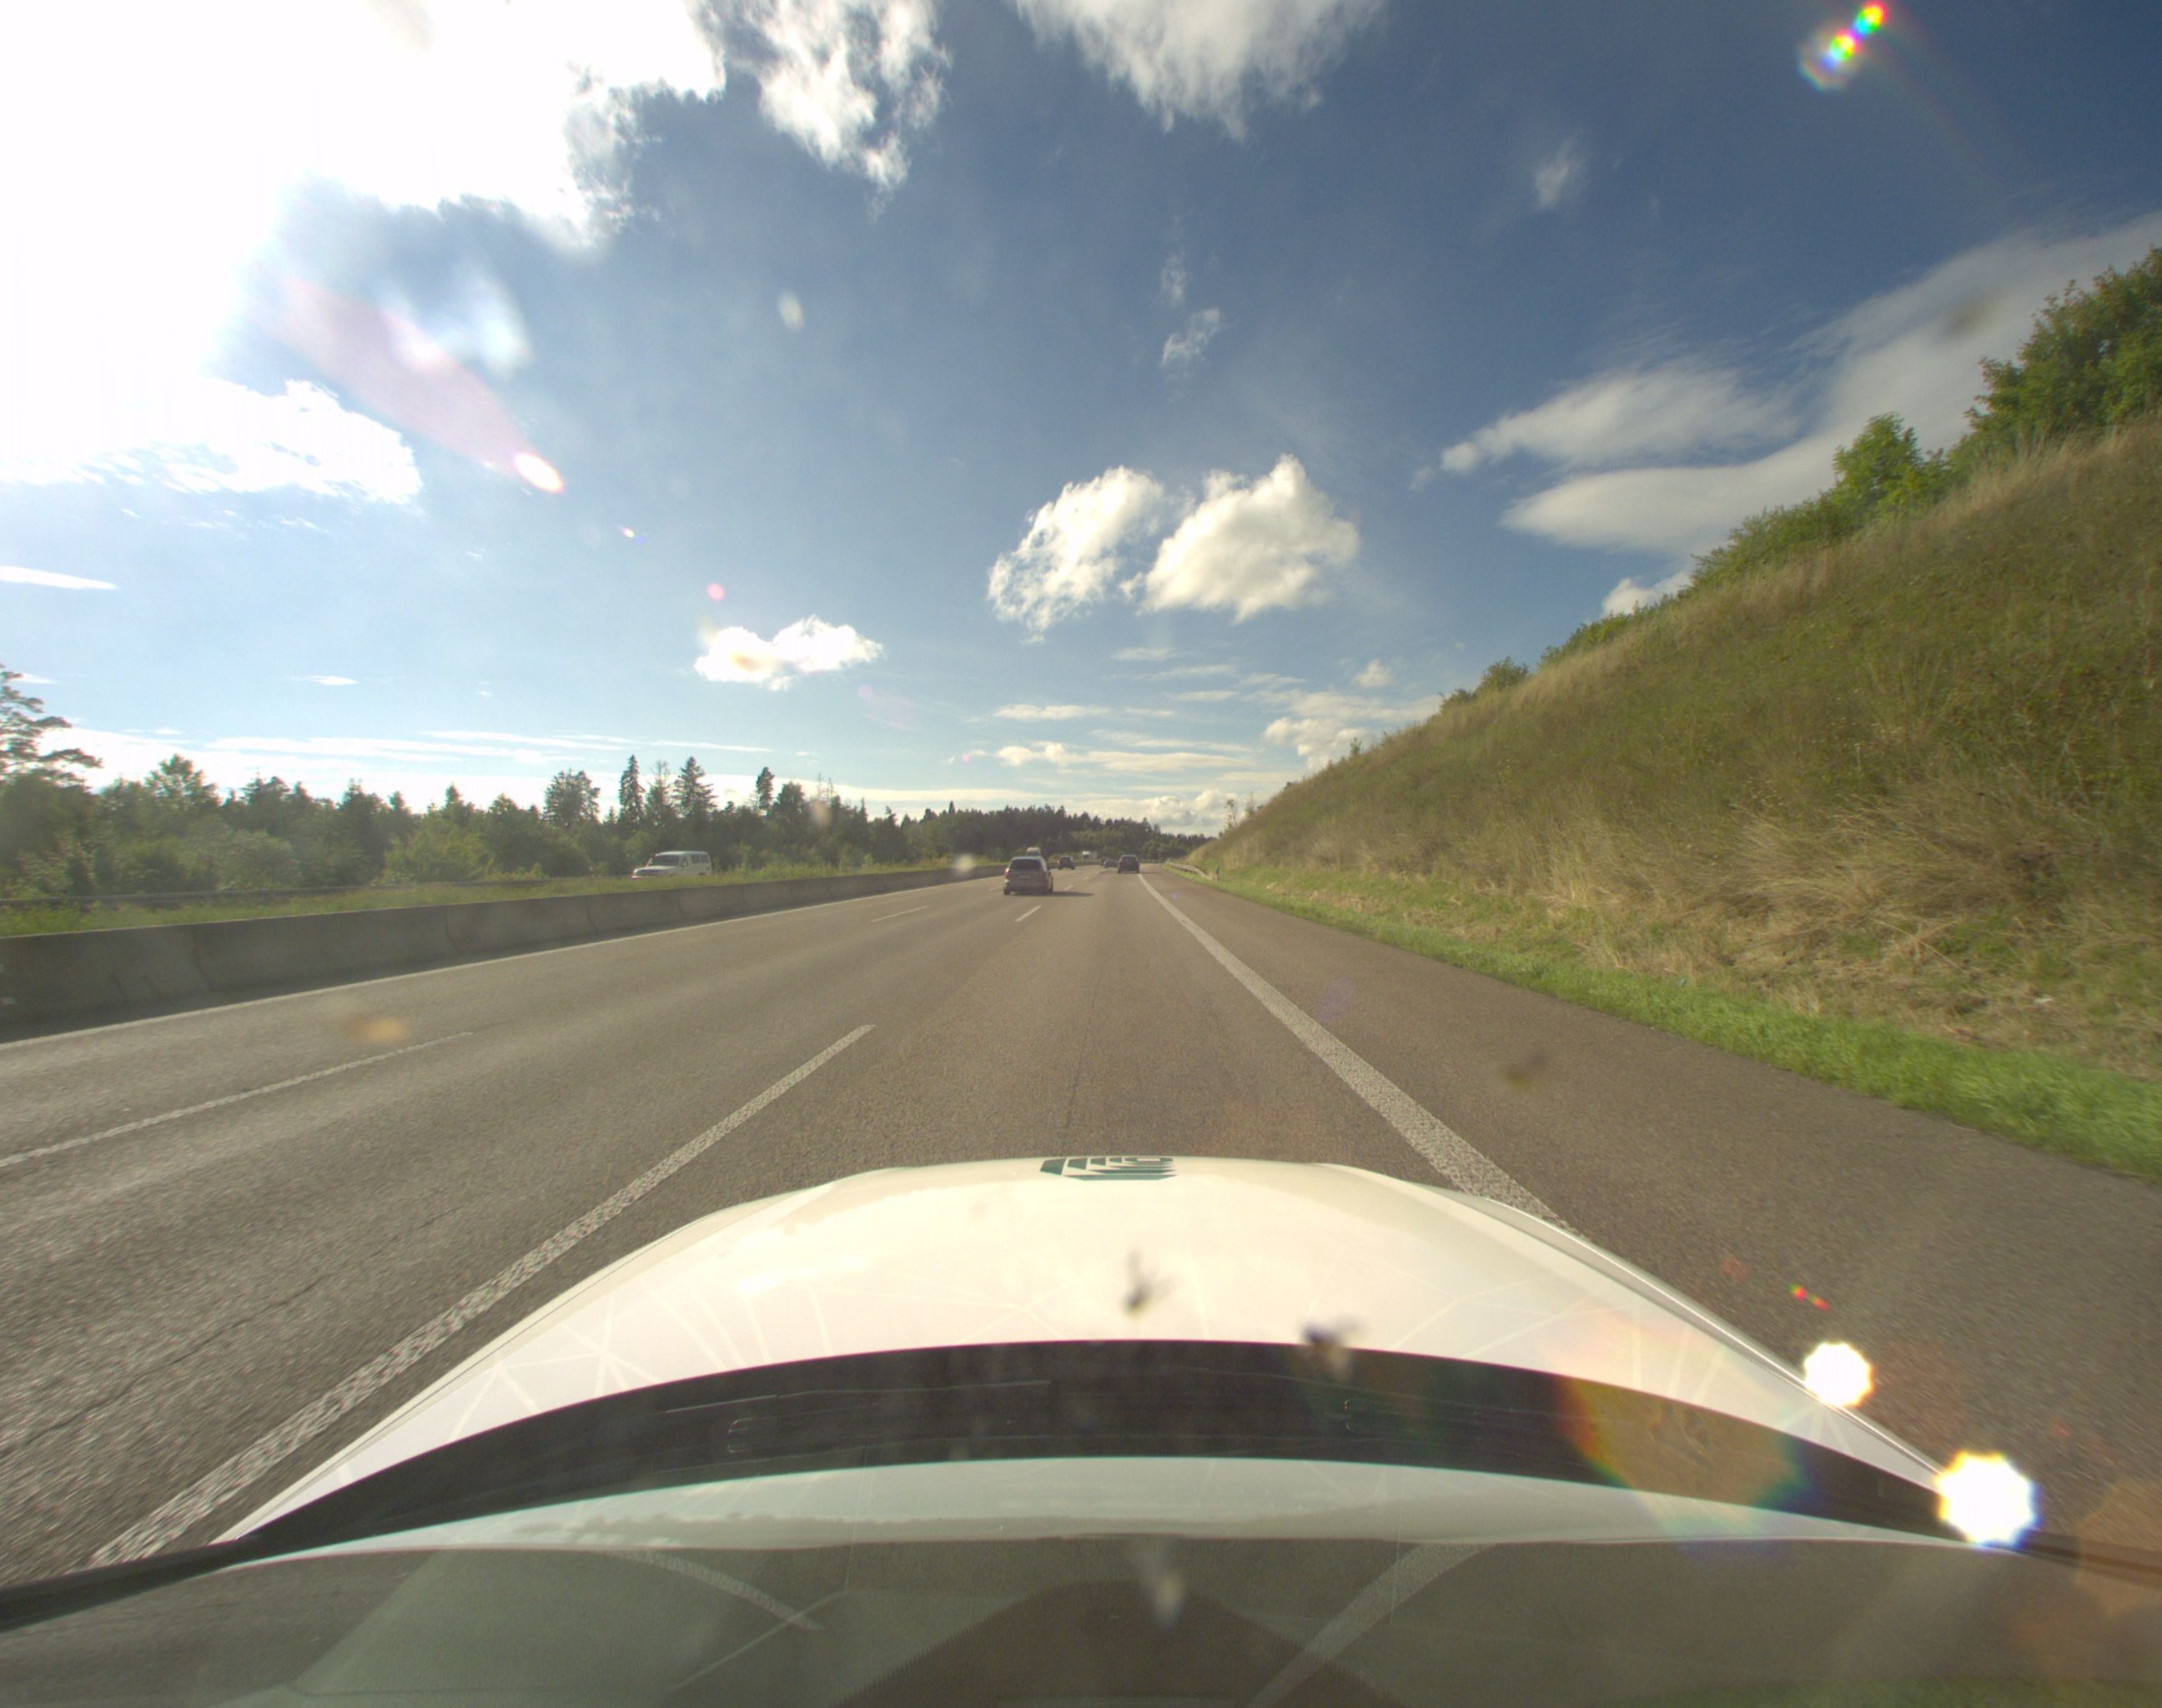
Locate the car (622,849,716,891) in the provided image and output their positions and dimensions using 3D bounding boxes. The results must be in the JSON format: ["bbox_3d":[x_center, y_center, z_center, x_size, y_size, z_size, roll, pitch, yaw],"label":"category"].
[{"bbox_3d":[-21.541,0.795,42.870,1.985,2.013,5.390,-1,0,3],"label":"car"}]

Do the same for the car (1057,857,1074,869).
[{"bbox_3d":[-1.873,1.113,100.471,1.866,1.497,3.881,-1,0,2],"label":"car"}]

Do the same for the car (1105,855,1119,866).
[{"bbox_3d":[4.451,0.894,116.799,1.866,1.497,3.882,-1,0,3],"label":"car"}]

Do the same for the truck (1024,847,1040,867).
[{"bbox_3d":[-10.595,0.624,177.129,2.790,4.392,5.470,-1,0,4],"label":"truck"}]

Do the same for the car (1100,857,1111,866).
[{"bbox_3d":[4.512,1.357,147.462,1.866,1.497,3.883,-1,0,3],"label":"car"}]

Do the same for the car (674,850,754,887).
[{"bbox_3d":[-21.310,0.802,47.535,1.985,2.013,5.390,-1,0,3],"label":"car"}]

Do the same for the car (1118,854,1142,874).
[{"bbox_3d":[4.293,0.871,71.948,1.867,1.675,3.890,-1,0,0],"label":"car"}]

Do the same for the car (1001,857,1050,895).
[{"bbox_3d":[-2.265,0.878,34.035,1.869,1.497,3.877,-1,0,-2],"label":"car"}]
